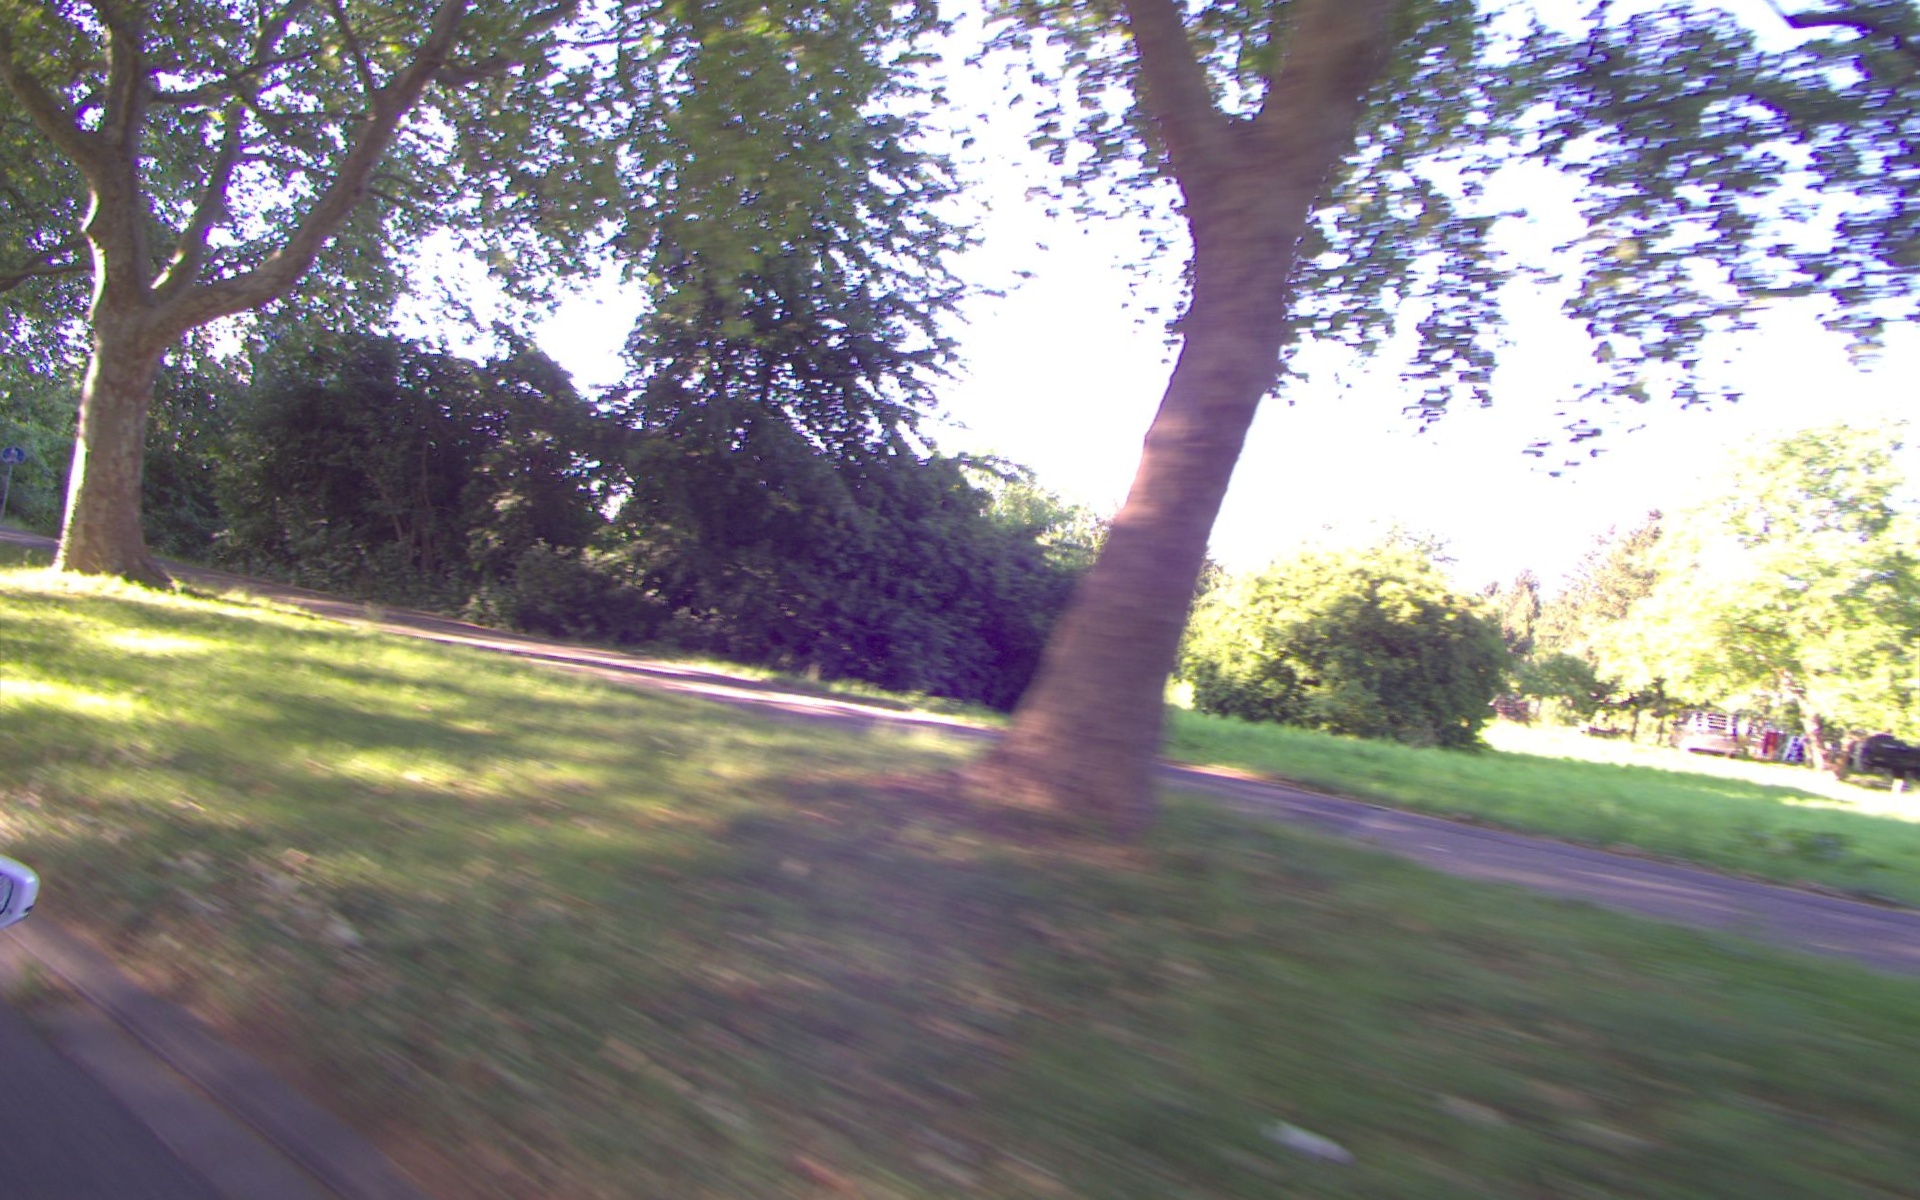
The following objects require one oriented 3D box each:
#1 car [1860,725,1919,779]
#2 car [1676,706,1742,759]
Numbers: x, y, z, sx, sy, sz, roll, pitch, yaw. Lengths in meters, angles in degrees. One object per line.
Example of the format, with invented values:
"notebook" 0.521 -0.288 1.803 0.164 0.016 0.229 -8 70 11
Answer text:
"car" 41.464 6.770 44.738 1.973 2.036 3.984 5 -3 41
"car" 33.134 5.876 44.469 1.908 1.969 3.984 5 -3 41
